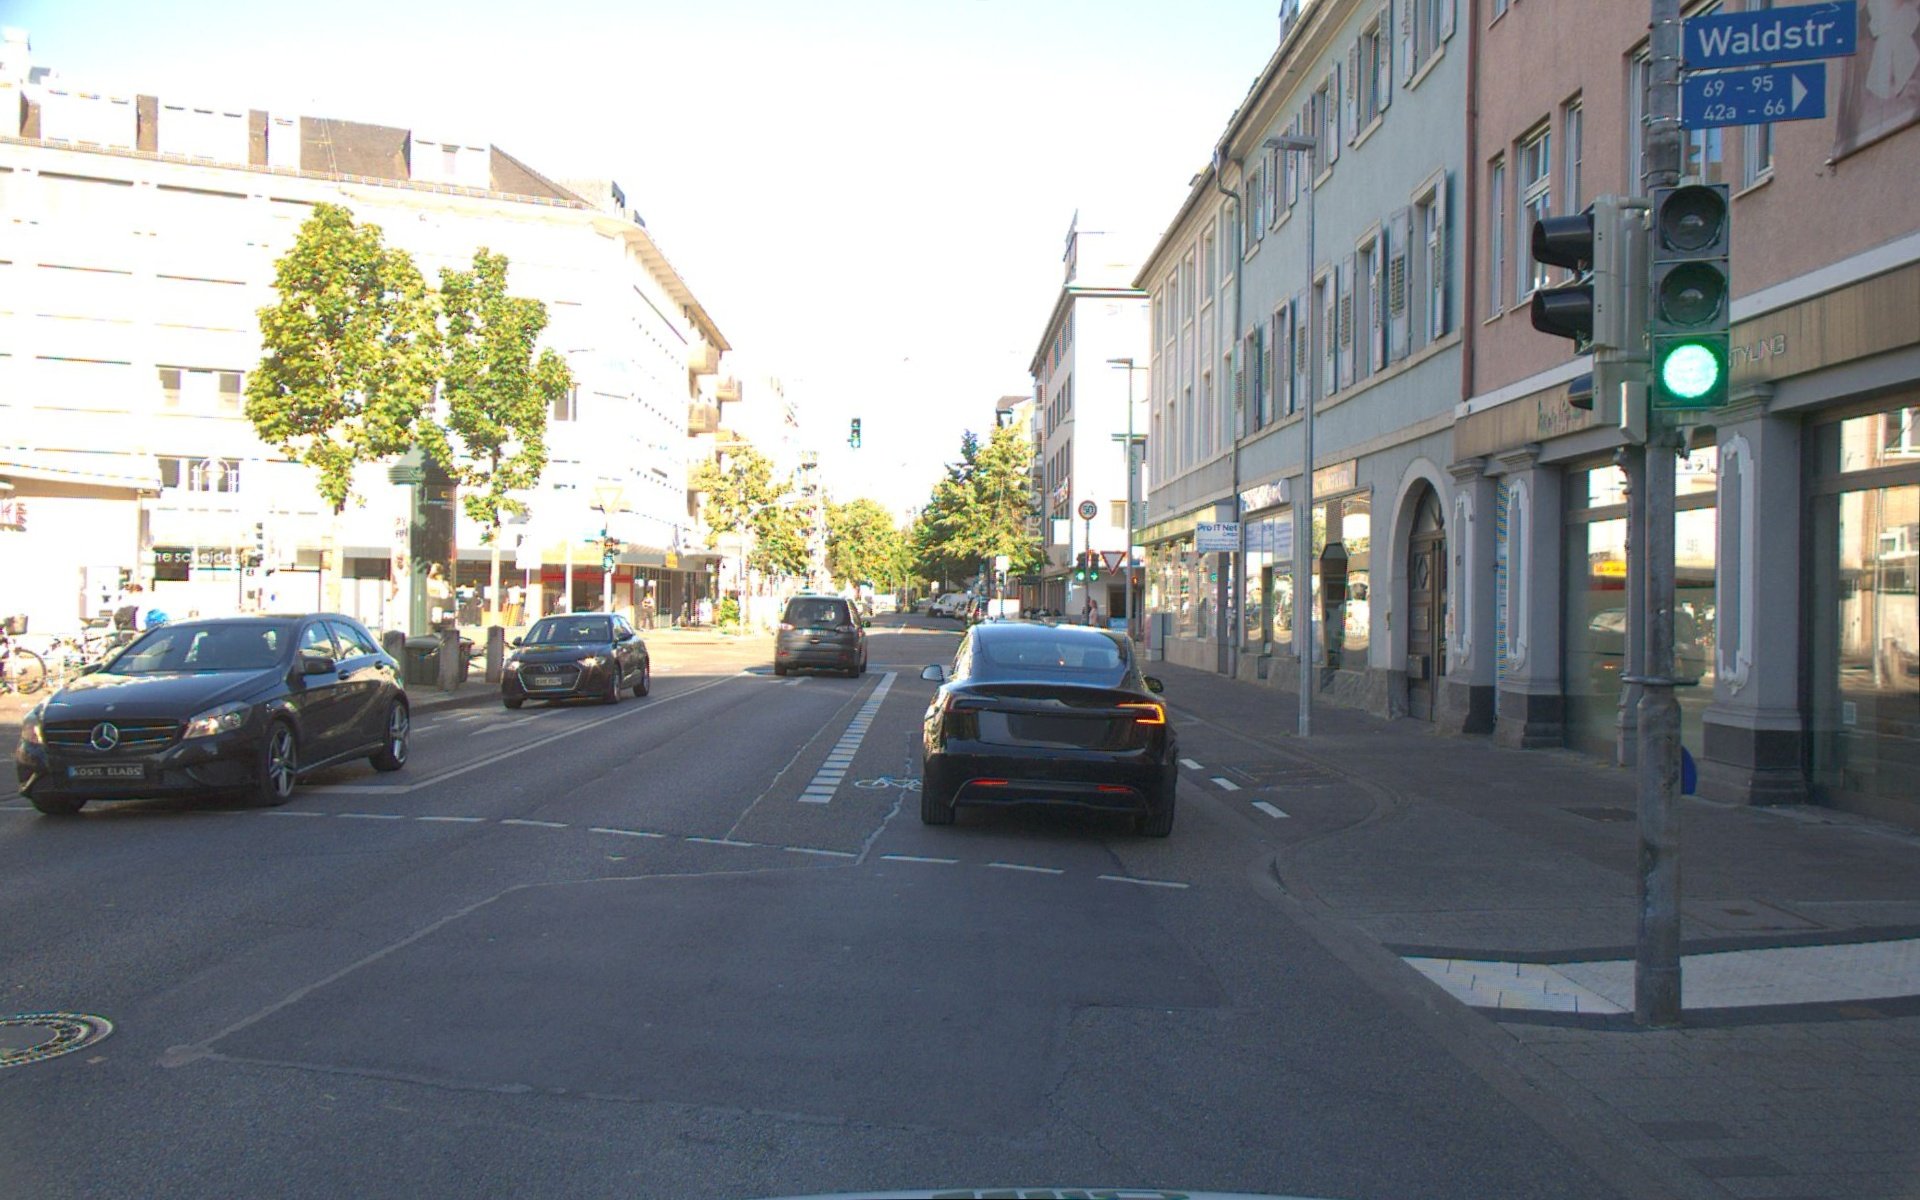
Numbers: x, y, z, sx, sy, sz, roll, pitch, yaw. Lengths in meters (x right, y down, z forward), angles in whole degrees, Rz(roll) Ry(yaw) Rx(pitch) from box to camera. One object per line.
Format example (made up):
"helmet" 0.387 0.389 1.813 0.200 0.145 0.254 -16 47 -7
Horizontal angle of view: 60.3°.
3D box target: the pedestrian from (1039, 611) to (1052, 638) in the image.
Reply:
"pedestrian" 4.196 1.197 81.003 0.574 1.336 0.560 0 -1 -1

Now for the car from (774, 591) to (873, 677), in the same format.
"car" -2.958 0.718 36.578 1.865 1.763 4.287 1 0 -1

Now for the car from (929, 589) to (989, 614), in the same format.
"car" -0.092 0.110 148.322 5.283 2.183 1.999 0 0 -3

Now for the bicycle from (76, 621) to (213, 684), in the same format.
"bicycle" -13.901 0.883 28.218 1.969 1.020 0.889 1 0 13

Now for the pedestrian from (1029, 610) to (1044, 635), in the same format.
"pedestrian" 4.164 1.220 90.499 0.716 1.371 1.059 0 -1 -4

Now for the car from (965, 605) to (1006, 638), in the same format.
"car" 1.301 1.087 86.613 1.960 1.665 4.287 1 0 -1

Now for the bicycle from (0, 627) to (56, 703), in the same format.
"bicycle" -13.850 0.890 23.294 1.844 1.020 0.766 1 0 7

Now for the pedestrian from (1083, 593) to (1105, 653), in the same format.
"pedestrian" 4.020 0.679 49.714 0.561 1.790 0.649 1 0 -2

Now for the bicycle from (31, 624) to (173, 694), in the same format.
"bicycle" -13.412 0.911 25.873 1.844 1.020 0.766 1 0 7

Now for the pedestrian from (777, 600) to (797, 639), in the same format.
"pedestrian" -7.855 0.902 75.249 0.777 1.742 0.651 1 0 -16

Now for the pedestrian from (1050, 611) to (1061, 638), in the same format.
"pedestrian" 4.723 1.204 81.795 0.477 1.345 0.654 0 -1 6

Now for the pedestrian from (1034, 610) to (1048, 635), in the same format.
"pedestrian" 4.512 1.221 91.777 0.716 1.384 0.958 0 -1 -2

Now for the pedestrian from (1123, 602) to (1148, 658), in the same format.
"pedestrian" 5.537 0.931 52.148 0.675 1.733 0.912 0 0 0

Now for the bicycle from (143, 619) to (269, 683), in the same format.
"bicycle" -13.895 0.930 30.513 1.947 1.107 0.754 1 0 0

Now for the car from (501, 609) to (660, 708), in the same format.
"car" -5.958 0.874 26.398 1.616 1.422 4.042 -1 0 -1

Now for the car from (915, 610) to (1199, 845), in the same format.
"car" 0.618 0.842 12.911 1.831 1.452 4.364 1 0 0

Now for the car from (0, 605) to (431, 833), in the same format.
"car" -5.828 0.818 13.374 1.713 1.448 4.254 -3 0 -1

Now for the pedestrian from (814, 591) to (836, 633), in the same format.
"pedestrian" -6.235 0.557 76.461 0.765 1.899 0.997 -2 0 -16

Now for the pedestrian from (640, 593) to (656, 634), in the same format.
"pedestrian" -13.084 0.564 69.354 0.547 1.739 0.711 0 -1 -4

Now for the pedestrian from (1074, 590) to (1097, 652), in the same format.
"pedestrian" 3.810 0.639 50.253 0.627 1.874 0.681 0 0 -2

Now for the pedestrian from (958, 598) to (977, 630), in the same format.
"pedestrian" 0.449 0.869 103.062 0.937 1.949 1.106 0 -1 15

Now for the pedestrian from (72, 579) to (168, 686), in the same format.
"pedestrian" -13.989 0.531 27.576 1.059 1.727 0.903 1 0 13

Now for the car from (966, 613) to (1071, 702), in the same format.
"car" 0.995 0.978 29.677 1.725 1.443 4.354 1 0 1

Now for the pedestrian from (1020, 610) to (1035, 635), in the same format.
"pedestrian" 3.748 1.217 91.599 0.695 1.371 1.059 0 -1 -4

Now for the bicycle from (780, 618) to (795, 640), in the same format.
"bicycle" -7.836 1.327 75.234 0.472 0.972 1.449 0 0 -15
